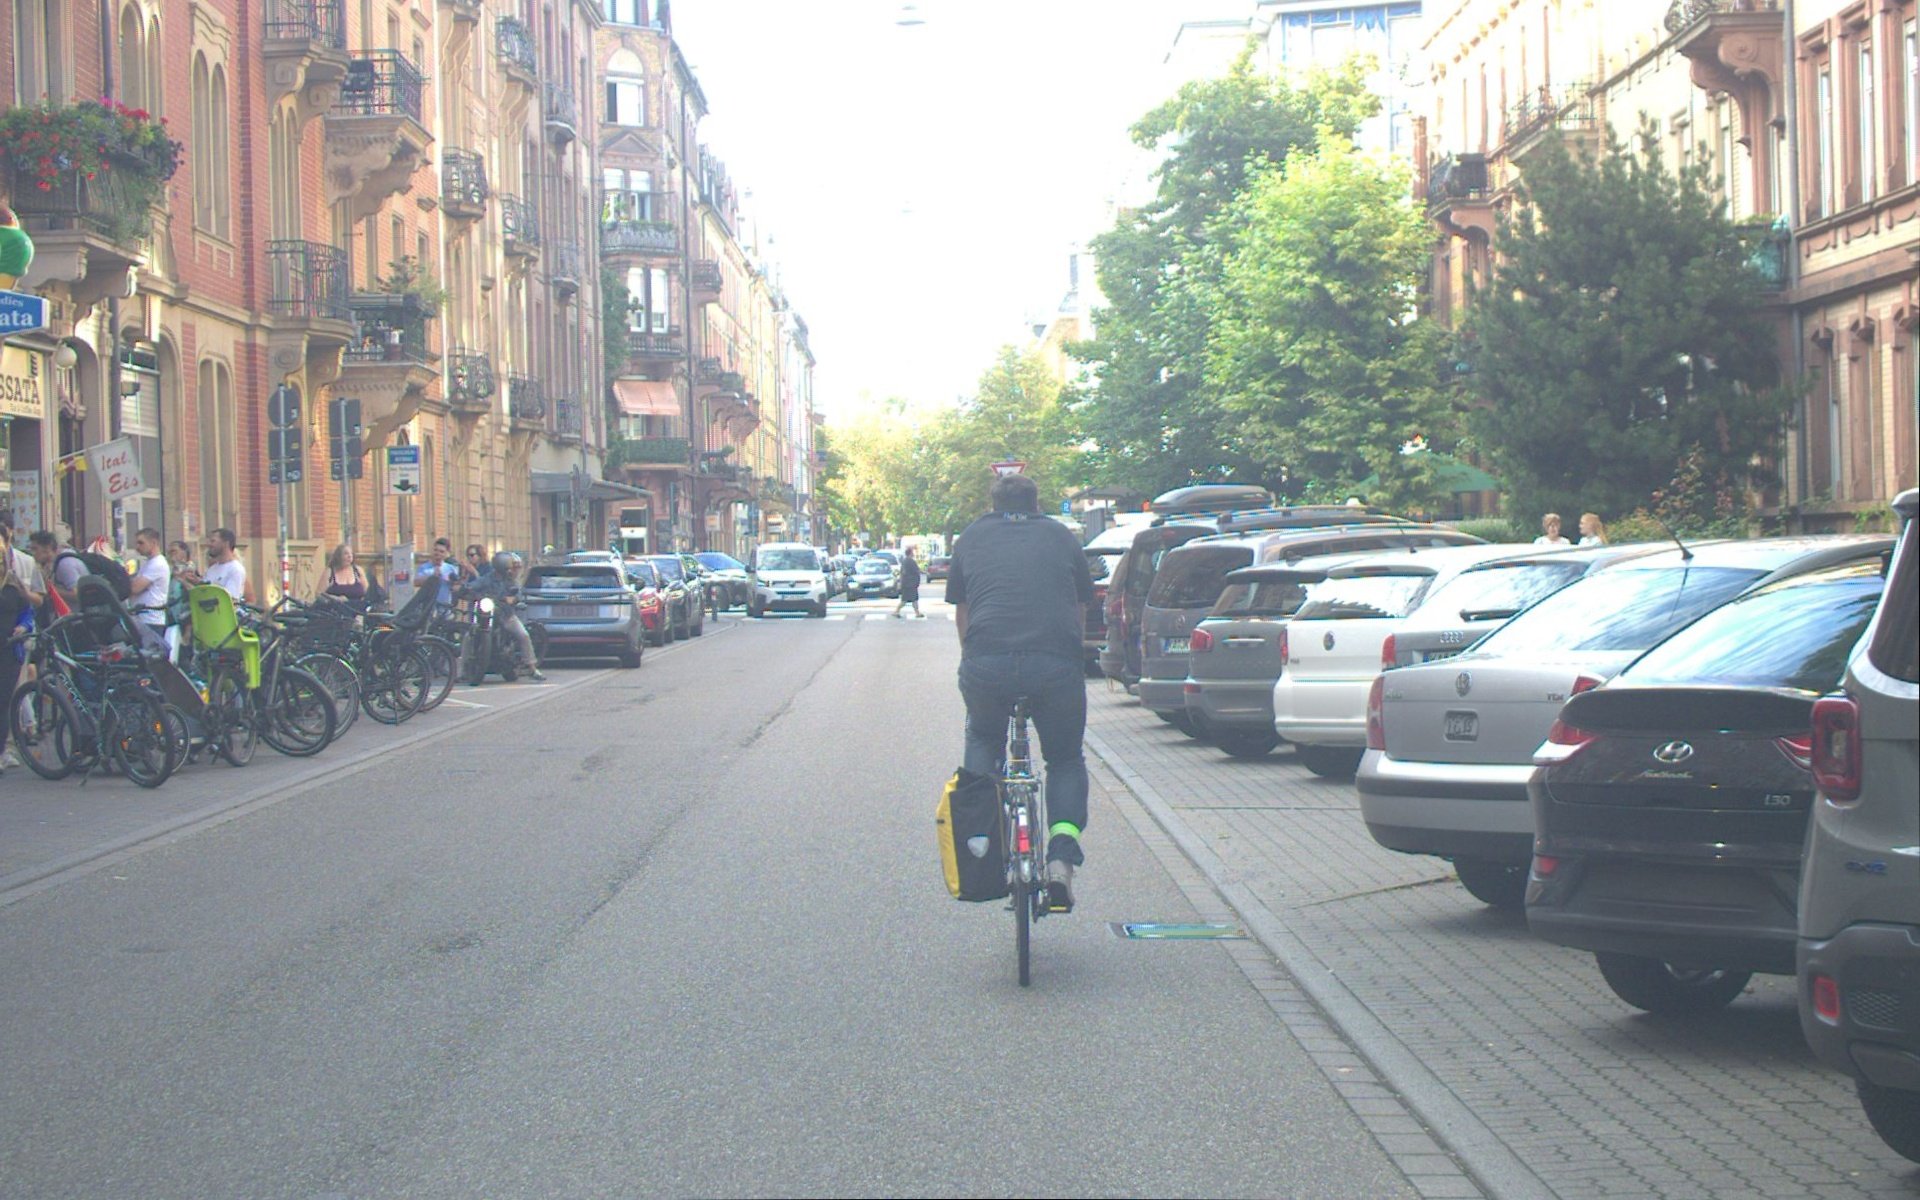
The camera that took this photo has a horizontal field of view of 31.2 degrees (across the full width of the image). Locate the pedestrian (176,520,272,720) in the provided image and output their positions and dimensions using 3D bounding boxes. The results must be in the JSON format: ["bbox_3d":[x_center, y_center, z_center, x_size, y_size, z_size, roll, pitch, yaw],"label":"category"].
[{"bbox_3d":[-6.502,0.166,30.390,0.605,1.745,0.725,0,1,10],"label":"pedestrian"}]

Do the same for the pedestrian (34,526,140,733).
[{"bbox_3d":[-7.893,0.256,31.080,0.761,1.847,0.666,0,1,-31],"label":"pedestrian"}]

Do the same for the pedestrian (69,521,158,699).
[{"bbox_3d":[-8.124,0.091,33.019,0.663,1.690,0.763,0,1,0],"label":"pedestrian"}]

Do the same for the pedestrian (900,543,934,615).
[{"bbox_3d":[-1.038,-0.507,83.280,0.629,1.733,0.775,-1,1,12],"label":"pedestrian"}]

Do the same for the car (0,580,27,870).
[{"bbox_3d":[-5.327,0.618,13.936,1.812,1.346,5.116,0,1,-1],"label":"car"}]

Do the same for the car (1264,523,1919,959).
[{"bbox_3d":[3.669,0.441,14.246,4.597,1.446,1.793,-4,1,-32],"label":"car"}]

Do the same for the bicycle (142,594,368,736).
[{"bbox_3d":[-5.755,0.514,28.102,1.733,1.117,0.555,0,1,-36],"label":"bicycle"}]

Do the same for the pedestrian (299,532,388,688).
[{"bbox_3d":[-6.614,0.103,36.919,0.910,1.655,0.828,0,1,-9],"label":"pedestrian"}]

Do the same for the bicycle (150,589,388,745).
[{"bbox_3d":[-5.517,0.520,27.514,1.785,1.196,0.591,0,1,-36],"label":"bicycle"}]

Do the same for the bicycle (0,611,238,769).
[{"bbox_3d":[-5.710,0.596,23.181,1.683,1.027,0.409,0,1,20],"label":"bicycle"}]

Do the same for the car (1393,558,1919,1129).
[{"bbox_3d":[3.543,0.585,10.871,4.125,1.413,1.869,-2,2,-36],"label":"car"}]

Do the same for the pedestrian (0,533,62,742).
[{"bbox_3d":[-7.371,0.287,26.867,0.553,1.611,0.584,0,1,0],"label":"pedestrian"}]

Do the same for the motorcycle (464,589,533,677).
[{"bbox_3d":[-5.495,0.379,41.033,0.793,0.992,2.500,0,1,-7],"label":"motorcycle"}]

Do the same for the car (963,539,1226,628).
[{"bbox_3d":[2.665,-0.355,67.863,4.753,1.452,2.057,-4,3,-28],"label":"car"}]

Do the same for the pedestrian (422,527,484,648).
[{"bbox_3d":[-7.584,-0.194,51.459,0.756,1.802,0.863,0,1,3],"label":"pedestrian"}]

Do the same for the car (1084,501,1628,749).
[{"bbox_3d":[3.201,0.163,27.603,3.987,1.735,1.840,-3,1,-31],"label":"car"}]

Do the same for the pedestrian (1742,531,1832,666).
[{"bbox_3d":[7.781,-0.018,32.355,0.600,1.215,0.673,-4,1,-1],"label":"pedestrian"}]

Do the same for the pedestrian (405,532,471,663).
[{"bbox_3d":[-6.643,-0.034,43.755,0.679,1.655,0.551,0,1,-30],"label":"pedestrian"}]

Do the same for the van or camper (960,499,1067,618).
[{"bbox_3d":[1.393,-1.122,91.470,2.531,3.027,4.459,-1,1,-2],"label":"van or camper"}]

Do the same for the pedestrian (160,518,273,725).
[{"bbox_3d":[-6.368,0.175,29.479,0.605,1.745,0.945,0,1,12],"label":"pedestrian"}]

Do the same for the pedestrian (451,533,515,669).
[{"bbox_3d":[-6.051,0.004,43.626,0.564,1.703,0.667,0,1,-35],"label":"pedestrian"}]

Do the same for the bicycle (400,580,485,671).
[{"bbox_3d":[-6.394,0.298,42.549,0.493,1.091,1.904,1,0,8],"label":"bicycle"}]

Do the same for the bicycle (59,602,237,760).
[{"bbox_3d":[-5.936,0.576,25.216,0.578,1.086,1.737,0,1,12],"label":"bicycle"}]

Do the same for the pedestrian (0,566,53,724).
[{"bbox_3d":[-8.013,0.372,28.811,0.717,1.309,0.440,0,1,-4],"label":"pedestrian"}]

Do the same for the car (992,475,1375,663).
[{"bbox_3d":[3.156,-0.456,48.006,5.144,2.397,1.918,-3,1,-33],"label":"car"}]

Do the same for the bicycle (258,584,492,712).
[{"bbox_3d":[-5.555,0.435,32.784,0.807,1.155,2.265,1,1,37],"label":"bicycle"}]

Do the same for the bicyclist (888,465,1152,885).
[{"bbox_3d":[0.208,0.259,12.494,0.933,1.479,0.747,0,1,-1],"label":"bicyclist"}]

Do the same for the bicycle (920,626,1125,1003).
[{"bbox_3d":[0.188,0.707,12.413,0.665,1.174,2.497,0,1,-1],"label":"bicycle"}]

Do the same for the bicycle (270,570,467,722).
[{"bbox_3d":[-5.263,0.390,30.627,1.672,1.317,0.527,0,1,-36],"label":"bicycle"}]

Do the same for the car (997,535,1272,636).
[{"bbox_3d":[3.038,-0.266,59.441,4.455,1.459,1.879,-4,3,-35],"label":"car"}]

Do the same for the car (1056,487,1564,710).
[{"bbox_3d":[3.351,-0.042,33.496,4.636,1.778,1.810,-4,3,-1],"label":"car"}]

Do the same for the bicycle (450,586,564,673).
[{"bbox_3d":[-5.640,0.359,42.870,0.482,1.055,1.902,1,0,24],"label":"bicycle"}]

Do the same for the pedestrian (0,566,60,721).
[{"bbox_3d":[-8.046,0.368,29.222,0.700,1.309,0.373,0,1,-4],"label":"pedestrian"}]

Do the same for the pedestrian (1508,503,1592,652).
[{"bbox_3d":[6.763,-0.262,39.436,0.646,1.689,0.699,-1,1,-44],"label":"pedestrian"}]

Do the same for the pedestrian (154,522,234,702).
[{"bbox_3d":[-7.299,0.109,32.761,0.563,1.690,0.647,0,1,-31],"label":"pedestrian"}]

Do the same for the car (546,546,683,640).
[{"bbox_3d":[-5.984,-0.134,59.969,1.993,1.539,4.427,-1,1,-1],"label":"car"}]

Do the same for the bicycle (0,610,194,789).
[{"bbox_3d":[-5.642,0.633,22.382,1.580,1.113,0.373,1,1,38],"label":"bicycle"}]

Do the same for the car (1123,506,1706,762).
[{"bbox_3d":[3.356,0.209,25.055,3.988,1.543,1.868,-4,2,-37],"label":"car"}]

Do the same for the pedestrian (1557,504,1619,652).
[{"bbox_3d":[7.086,-0.249,38.814,0.573,1.653,0.633,0,1,0],"label":"pedestrian"}]

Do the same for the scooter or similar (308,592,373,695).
[{"bbox_3d":[-6.517,0.451,36.184,0.605,1.051,0.922,0,1,-6],"label":"scooter or similar"}]

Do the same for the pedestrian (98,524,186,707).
[{"bbox_3d":[-7.681,0.139,32.281,0.663,1.690,0.586,0,1,-31],"label":"pedestrian"}]

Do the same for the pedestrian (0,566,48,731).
[{"bbox_3d":[-7.753,0.387,27.614,0.723,1.309,0.606,0,1,-4],"label":"pedestrian"}]

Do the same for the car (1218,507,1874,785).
[{"bbox_3d":[3.850,0.275,22.394,3.988,1.446,1.736,-5,1,-32],"label":"car"}]

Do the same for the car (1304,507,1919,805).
[{"bbox_3d":[4.165,0.276,20.015,3.988,1.456,1.887,-4,0,-36],"label":"car"}]

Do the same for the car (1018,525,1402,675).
[{"bbox_3d":[3.103,-0.042,42.285,4.444,1.726,2.000,-1,1,-35],"label":"car"}]

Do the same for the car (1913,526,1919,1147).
[{"bbox_3d":[3.493,0.635,5.139,4.113,1.516,1.844,-1,0,-37],"label":"car"}]

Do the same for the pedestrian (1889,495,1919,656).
[{"bbox_3d":[9.353,-0.250,32.278,0.927,1.492,0.812,-2,1,-7],"label":"pedestrian"}]

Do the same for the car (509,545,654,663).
[{"bbox_3d":[-5.293,0.022,48.576,1.825,1.573,5.264,0,1,-4],"label":"car"}]

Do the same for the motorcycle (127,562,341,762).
[{"bbox_3d":[-5.249,0.422,24.997,0.707,1.379,2.022,0,1,14],"label":"motorcycle"}]

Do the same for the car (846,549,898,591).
[{"bbox_3d":[-3.071,-1.039,119.670,1.750,1.431,4.212,0,0,-2],"label":"car"}]

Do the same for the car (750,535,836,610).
[{"bbox_3d":[-4.134,-0.697,85.680,1.917,1.822,4.438,0,1,0],"label":"car"}]

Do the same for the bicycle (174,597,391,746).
[{"bbox_3d":[-5.293,0.547,26.900,1.566,1.117,0.591,0,1,-37],"label":"bicycle"}]

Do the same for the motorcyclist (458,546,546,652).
[{"bbox_3d":[-5.451,-0.019,40.968,1.013,1.241,0.803,0,1,-6],"label":"motorcyclist"}]

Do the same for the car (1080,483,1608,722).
[{"bbox_3d":[3.415,0.000,30.279,4.390,1.816,1.755,-4,1,-32],"label":"car"}]

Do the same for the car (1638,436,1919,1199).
[{"bbox_3d":[3.668,0.445,7.965,3.988,1.693,1.852,-3,2,-35],"label":"car"}]

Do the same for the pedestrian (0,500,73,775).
[{"bbox_3d":[-6.506,0.239,23.189,0.762,1.812,0.665,1,1,30],"label":"pedestrian"}]
